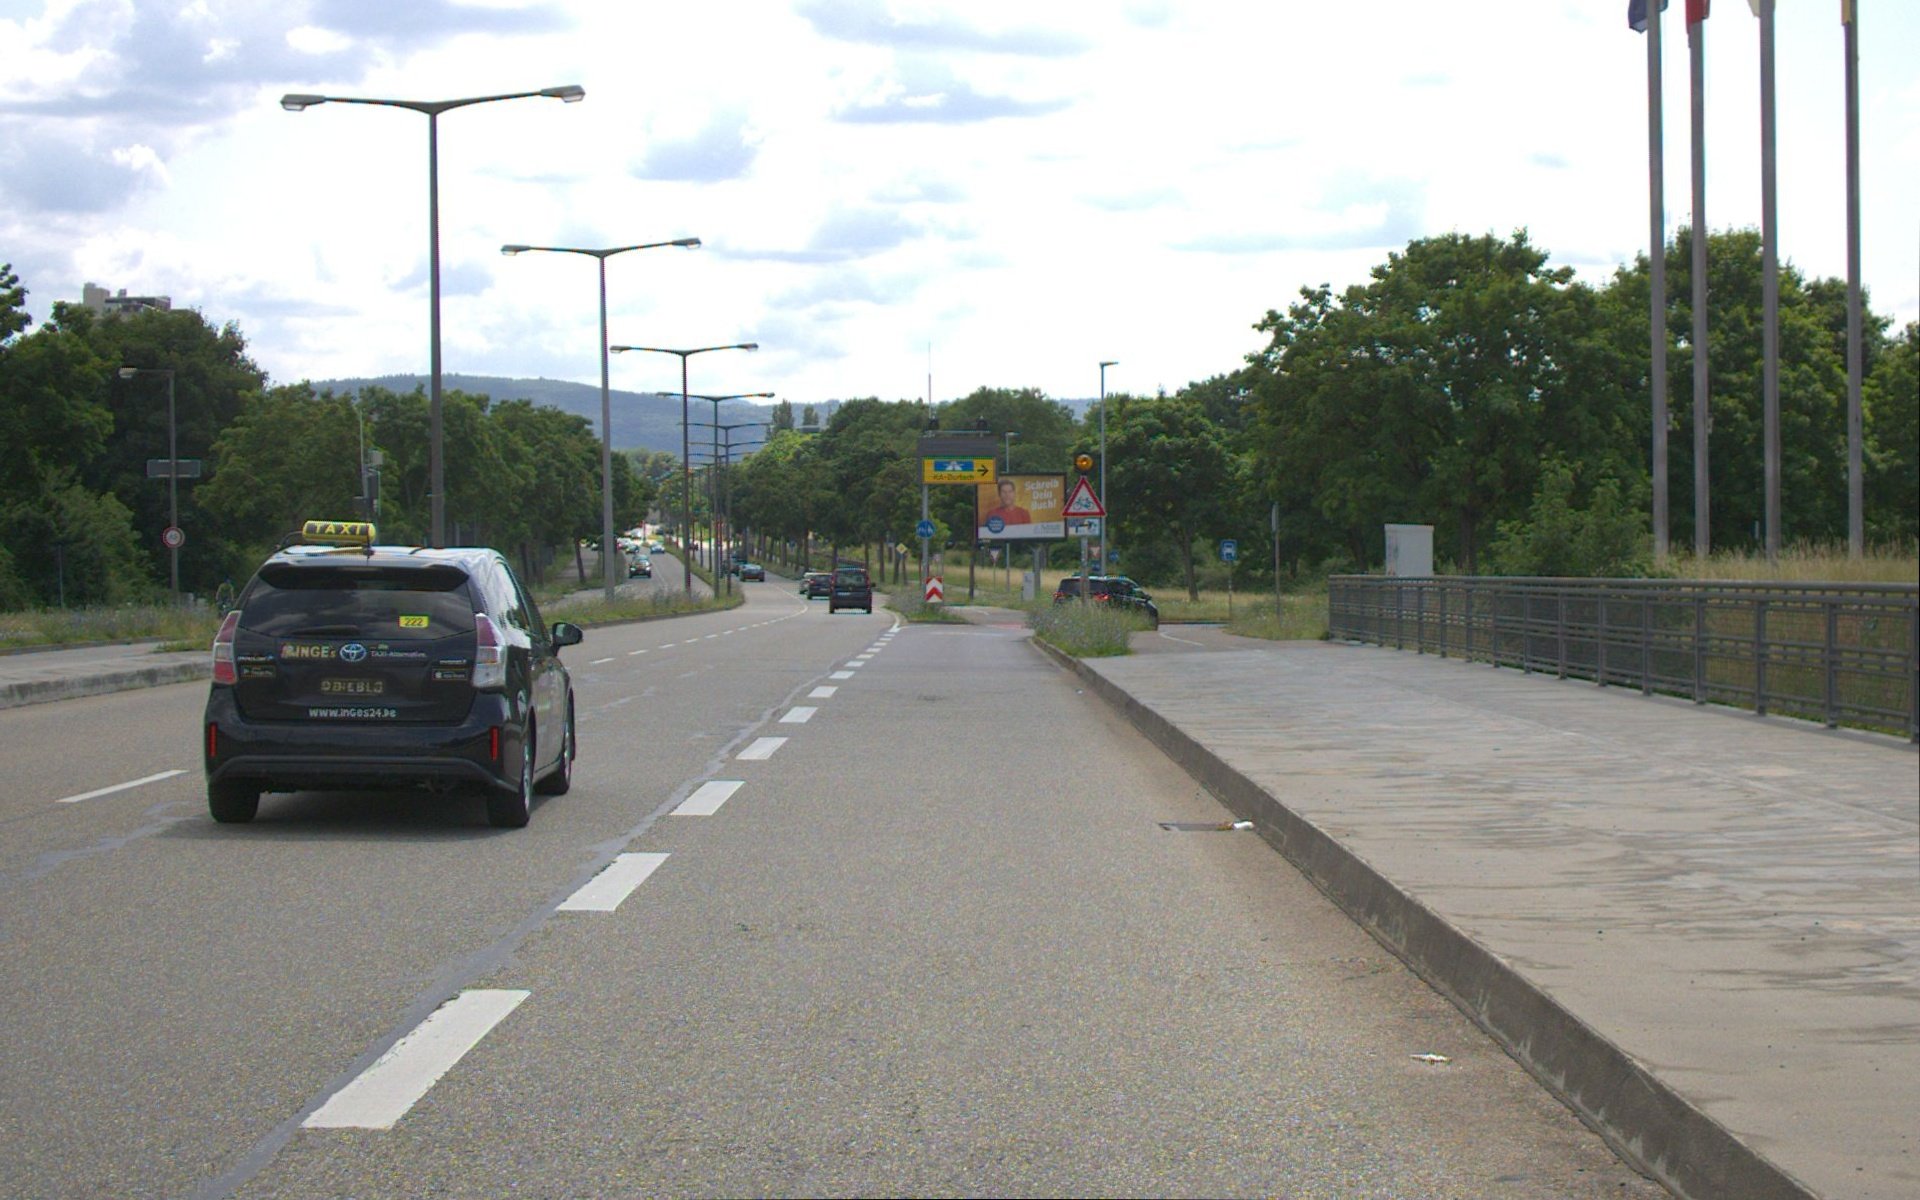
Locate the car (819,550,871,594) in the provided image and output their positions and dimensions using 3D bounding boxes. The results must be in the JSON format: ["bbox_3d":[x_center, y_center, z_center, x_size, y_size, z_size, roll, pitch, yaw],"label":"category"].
[{"bbox_3d":[-4.752,-1.172,141.739,1.993,1.656,4.001,1,2,-4],"label":"car"}]

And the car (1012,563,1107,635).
[{"bbox_3d":[2.498,-0.040,87.322,1.993,1.656,4.001,1,2,-4],"label":"car"}]

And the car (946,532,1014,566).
[{"bbox_3d":[1.015,-2.598,174.693,1.993,1.656,4.001,1,2,-23],"label":"car"}]

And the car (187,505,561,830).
[{"bbox_3d":[-3.336,0.307,20.221,1.779,1.678,4.001,1,2,-4],"label":"car"}]
